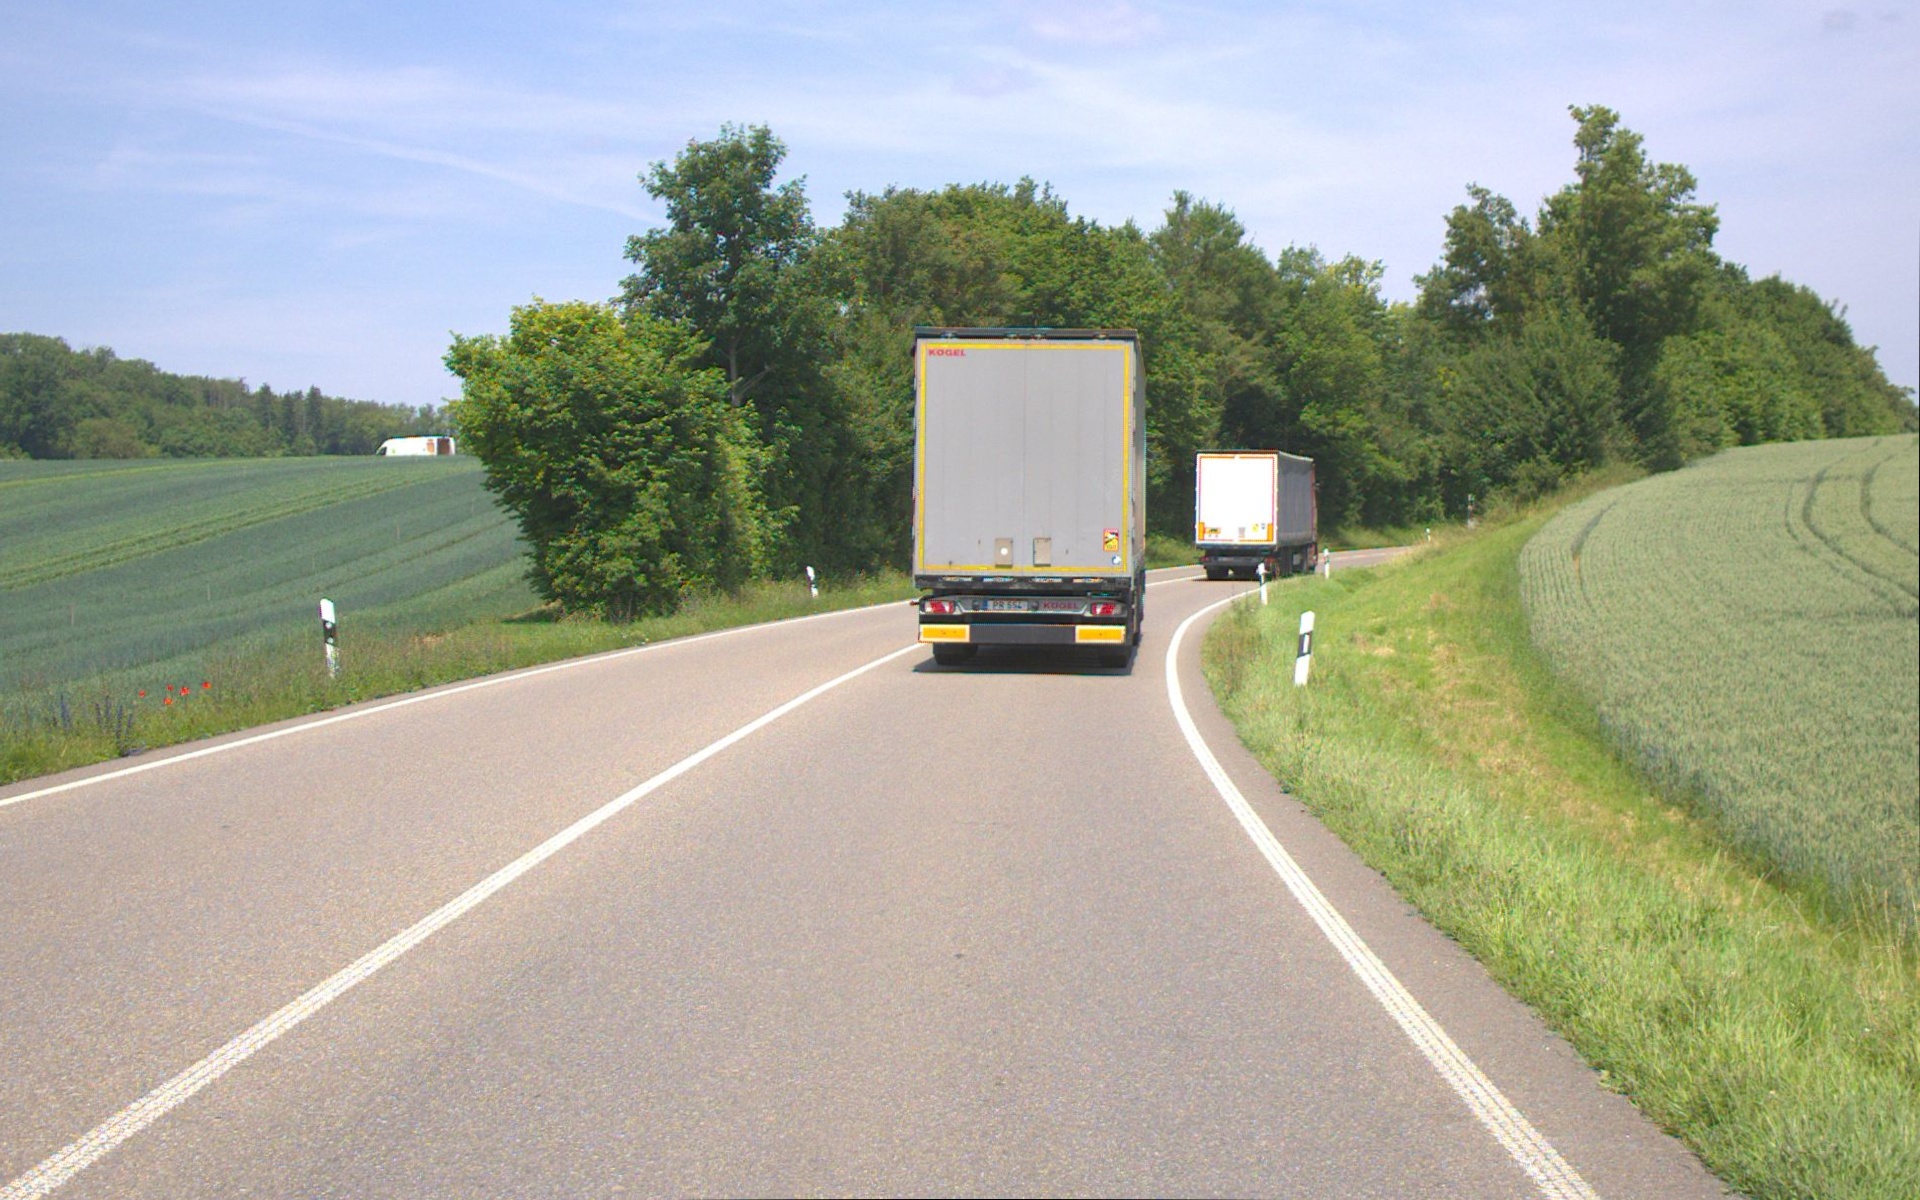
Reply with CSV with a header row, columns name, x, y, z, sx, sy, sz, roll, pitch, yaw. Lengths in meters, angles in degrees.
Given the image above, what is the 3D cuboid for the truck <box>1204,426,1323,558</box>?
name,x,y,z,sx,sy,sz,roll,pitch,yaw
truck,10.540,-3.786,118.667,3.367,4.301,6.738,-1,3,11

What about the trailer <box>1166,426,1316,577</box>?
name,x,y,z,sx,sy,sz,roll,pitch,yaw
trailer,9.313,-3.349,112.196,3.366,4.301,13.861,-1,4,11

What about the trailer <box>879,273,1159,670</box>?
name,x,y,z,sx,sy,sz,roll,pitch,yaw
trailer,1.065,-1.613,45.815,3.118,4.484,13.885,0,1,4

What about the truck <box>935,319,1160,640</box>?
name,x,y,z,sx,sy,sz,roll,pitch,yaw
truck,1.421,-1.763,51.554,3.118,4.479,6.810,0,1,4
